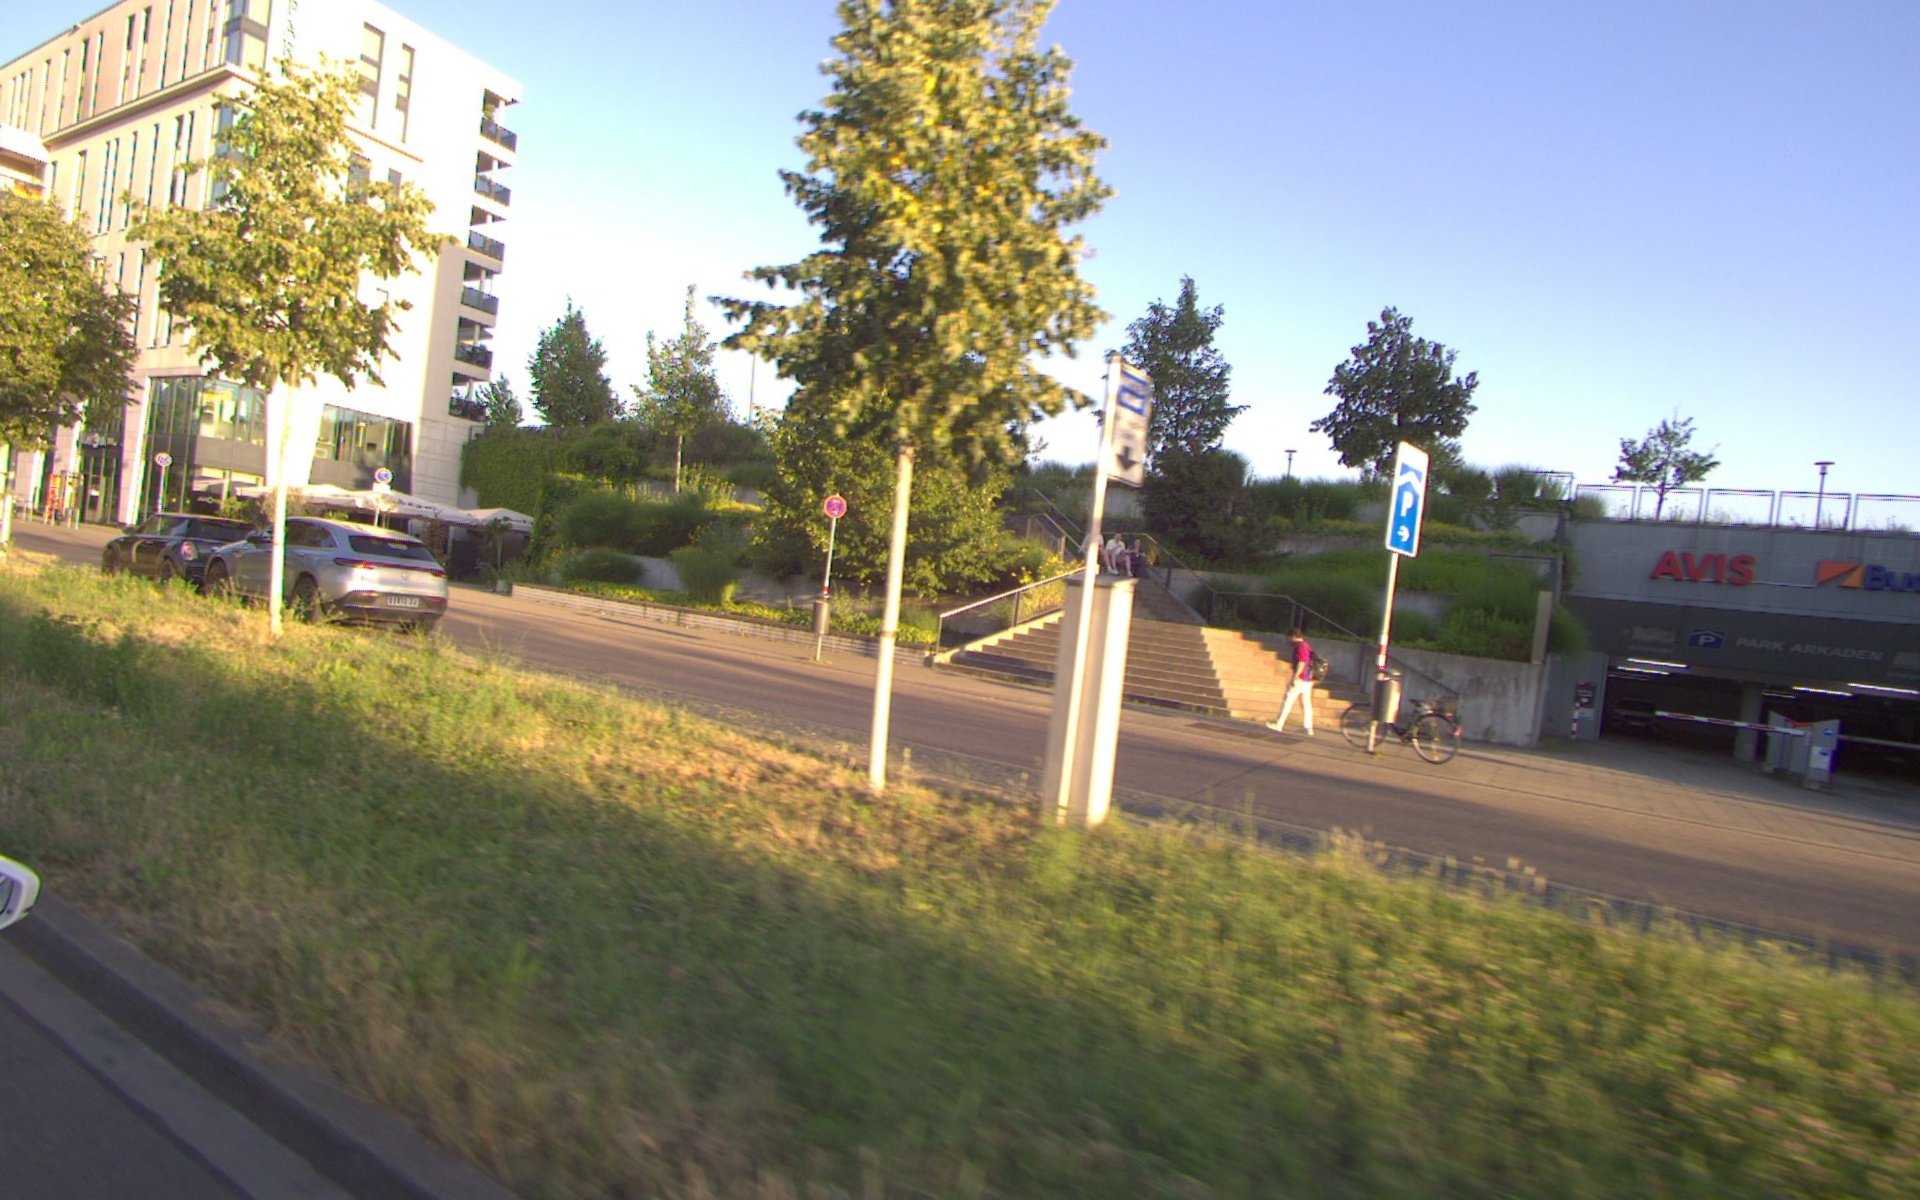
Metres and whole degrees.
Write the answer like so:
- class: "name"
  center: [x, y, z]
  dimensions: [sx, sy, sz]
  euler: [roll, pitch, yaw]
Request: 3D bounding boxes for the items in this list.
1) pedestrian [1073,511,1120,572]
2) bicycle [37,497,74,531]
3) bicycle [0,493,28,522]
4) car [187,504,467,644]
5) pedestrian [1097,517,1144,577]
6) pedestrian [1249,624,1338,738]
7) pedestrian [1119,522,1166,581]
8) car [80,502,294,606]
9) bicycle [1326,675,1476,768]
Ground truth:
- class: "pedestrian"
  center: [3.429, -1.467, 25.318]
  dimensions: [0.662, 1.398, 0.821]
  euler: [8, 0, -27]
- class: "bicycle"
  center: [-37.854, -3.585, 42.098]
  dimensions: [1.642, 1.246, 0.618]
  euler: [7, 1, 30]
- class: "bicycle"
  center: [-42.839, -4.194, 45.419]
  dimensions: [1.837, 1.143, 0.547]
  euler: [7, 2, 30]
- class: "car"
  center: [-10.147, -0.444, 16.038]
  dimensions: [4.598, 1.652, 1.811]
  euler: [7, 0, 31]
- class: "pedestrian"
  center: [4.102, -1.352, 25.692]
  dimensions: [0.662, 1.398, 0.821]
  euler: [8, 0, -27]
- class: "pedestrian"
  center: [5.413, 1.308, 16.334]
  dimensions: [1.060, 1.675, 0.696]
  euler: [7, 1, 31]
- class: "pedestrian"
  center: [4.720, -1.243, 26.029]
  dimensions: [0.662, 1.398, 0.821]
  euler: [8, 0, -27]
- class: "car"
  center: [-14.405, -0.870, 18.719]
  dimensions: [3.933, 1.415, 1.752]
  euler: [7, -1, 31]
- class: "bicycle"
  center: [6.467, 1.763, 14.843]
  dimensions: [0.540, 1.056, 1.892]
  euler: [6, 0, -39]
